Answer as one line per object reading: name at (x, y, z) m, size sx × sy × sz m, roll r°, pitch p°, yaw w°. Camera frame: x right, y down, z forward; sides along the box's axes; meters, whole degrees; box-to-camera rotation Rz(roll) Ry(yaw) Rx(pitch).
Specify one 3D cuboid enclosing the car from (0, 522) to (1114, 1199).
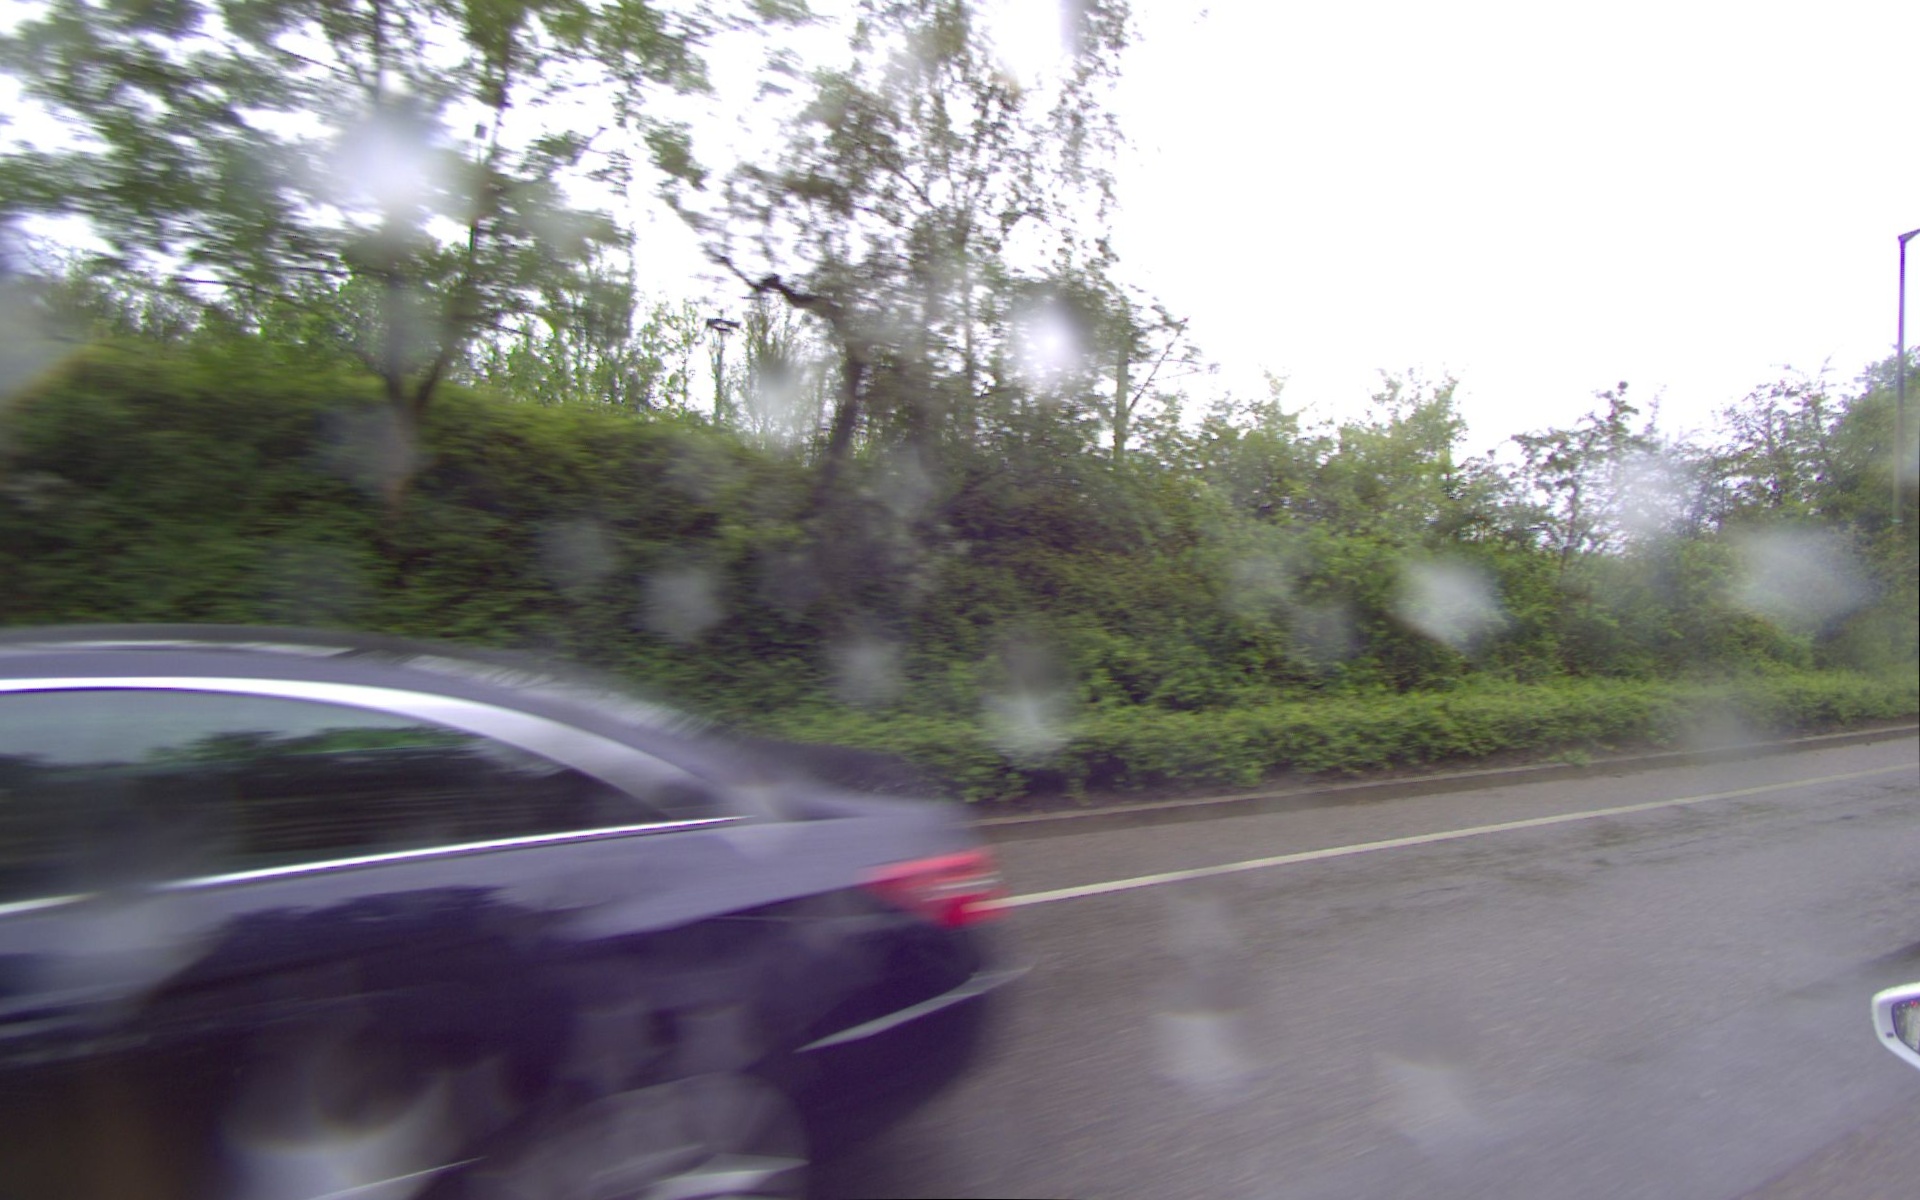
car at (-1.933, 0.636, 2.125) m, size 4.328 × 1.468 × 1.855 m, roll 1°, pitch -1°, yaw -32°
